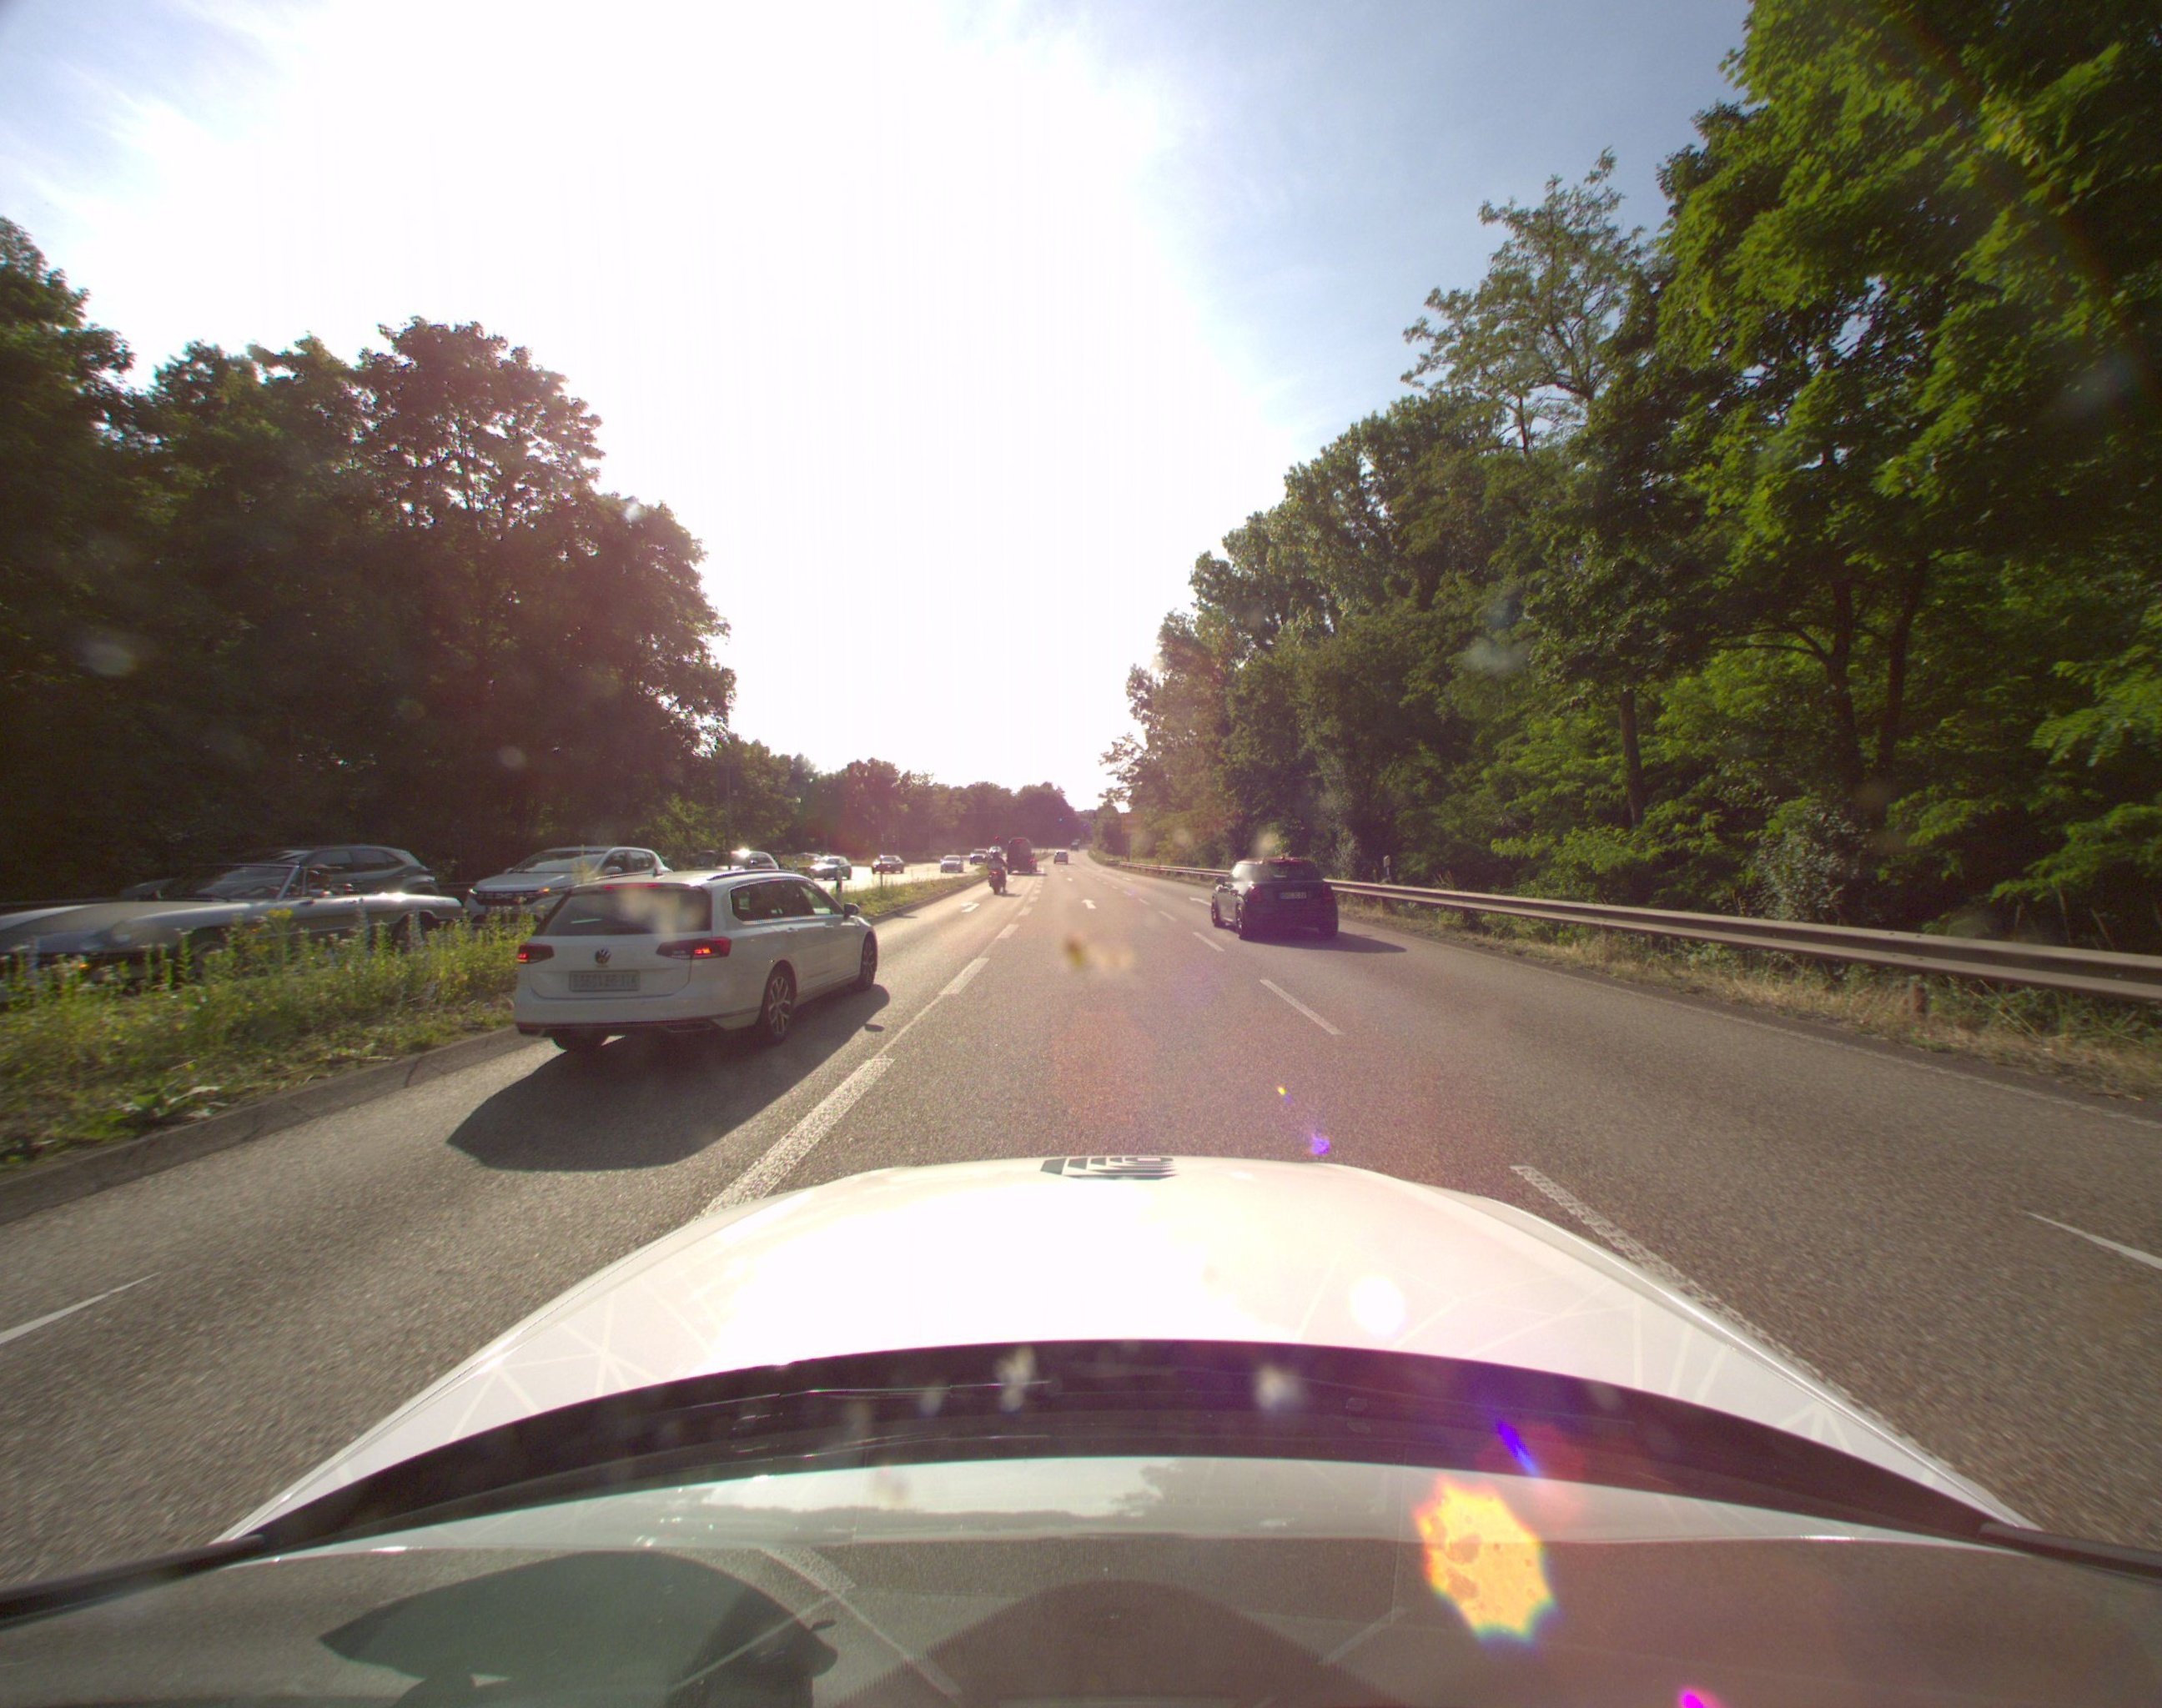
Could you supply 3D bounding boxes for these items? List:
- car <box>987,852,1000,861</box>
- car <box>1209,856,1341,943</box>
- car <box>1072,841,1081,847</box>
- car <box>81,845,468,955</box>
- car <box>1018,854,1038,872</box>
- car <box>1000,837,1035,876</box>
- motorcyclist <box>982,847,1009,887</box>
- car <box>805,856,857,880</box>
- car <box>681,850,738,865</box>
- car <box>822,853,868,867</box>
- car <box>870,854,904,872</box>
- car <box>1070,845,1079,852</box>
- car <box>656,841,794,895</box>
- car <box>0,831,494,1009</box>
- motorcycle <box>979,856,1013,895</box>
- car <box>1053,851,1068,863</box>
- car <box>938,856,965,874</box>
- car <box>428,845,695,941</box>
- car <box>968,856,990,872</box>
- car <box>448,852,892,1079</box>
[{"bbox_3d":[-14.265,0.396,133.143,1.880,1.503,4.258,-2,0,-4],"label":"car"},{"bbox_3d":[3.589,0.776,15.754,1.812,1.467,3.876,0,0,3],"label":"car"},{"bbox_3d":[-1.359,-2.910,246.757,1.837,1.786,4.686,1,0,13],"label":"car"},{"bbox_3d":[-12.660,0.618,13.319,1.861,1.461,4.416,-1,0,1],"label":"car"},{"bbox_3d":[-4.730,0.793,73.200,1.641,1.489,4.101,-1,0,-1],"label":"car"},{"bbox_3d":[-5.042,0.181,65.581,2.202,2.888,7.011,-1,0,1],"label":"car"},{"bbox_3d":[-3.500,0.528,33.518,0.880,1.616,1.291,1,0,3],"label":"motorcyclist"},{"bbox_3d":[-15.305,0.824,50.054,1.732,1.378,4.375,-1,0,1],"label":"car"},{"bbox_3d":[-39.956,0.359,87.677,5.028,1.490,2.451,1,0,6],"label":"car"},{"bbox_3d":[-27.088,0.676,93.659,4.700,1.490,2.165,1,0,-4],"label":"car"},{"bbox_3d":[-15.554,0.696,65.590,1.783,1.406,4.750,0,0,-2],"label":"car"},{"bbox_3d":[-1.494,-1.135,178.482,1.741,1.537,3.921,1,0,-3],"label":"car"},{"bbox_3d":[-12.536,0.444,29.261,2.096,1.708,6.226,-1,0,1],"label":"car"},{"bbox_3d":[-8.853,0.531,8.774,1.761,1.417,4.434,-1,0,1],"label":"car"},{"bbox_3d":[-3.486,0.864,33.546,0.905,1.453,2.691,-3,0,3],"label":"motorcycle"},{"bbox_3d":[-2.587,0.383,103.560,1.755,1.380,3.973,1,0,2],"label":"car"},{"bbox_3d":[-11.090,0.937,69.859,1.783,1.411,4.223,1,0,-2],"label":"car"},{"bbox_3d":[-8.899,0.576,14.526,1.861,1.417,4.416,-1,0,1],"label":"car"},{"bbox_3d":[-11.912,1.157,95.396,2.071,1.763,4.753,-2,0,-2],"label":"car"},{"bbox_3d":[-3.425,0.774,8.095,1.864,1.521,4.834,2,0,0],"label":"car"}]
